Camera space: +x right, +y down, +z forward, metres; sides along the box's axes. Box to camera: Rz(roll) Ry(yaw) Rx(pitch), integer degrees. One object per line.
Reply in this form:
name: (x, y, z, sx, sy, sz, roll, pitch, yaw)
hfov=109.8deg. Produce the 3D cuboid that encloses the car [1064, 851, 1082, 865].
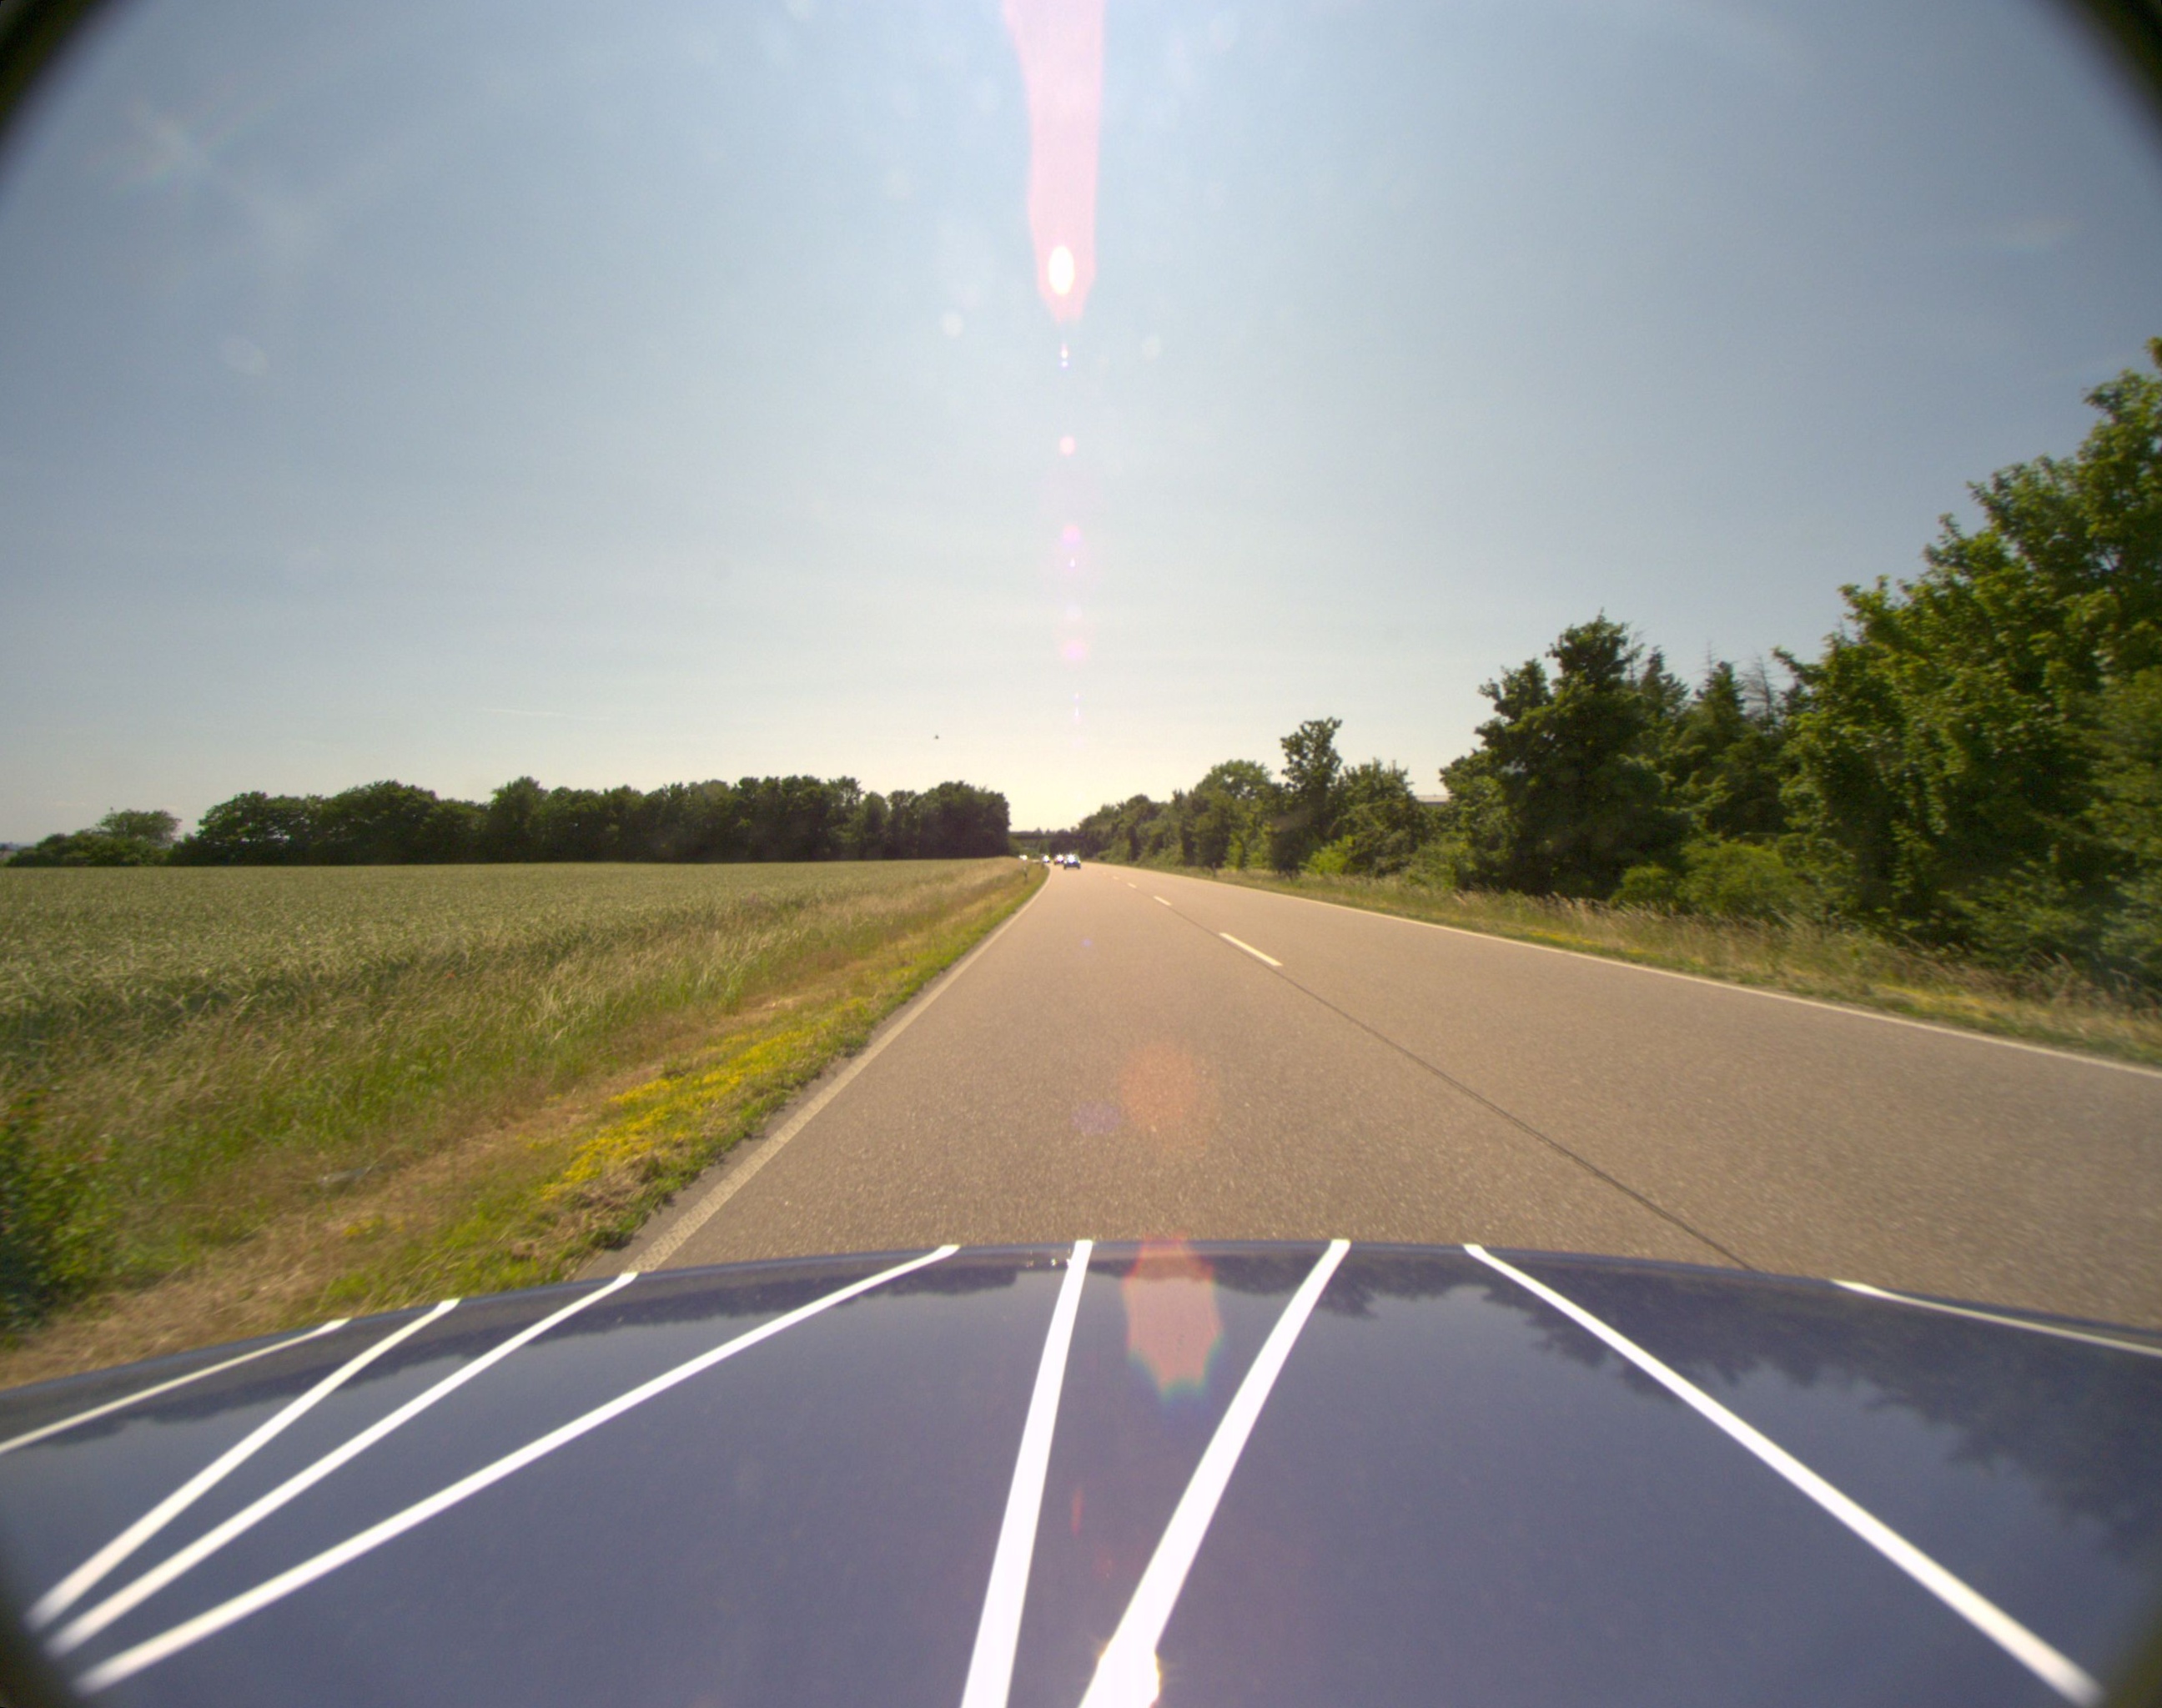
car: (-0.885, 0.452, 81.863, 1.694, 1.431, 3.708, -1, 0, -6)

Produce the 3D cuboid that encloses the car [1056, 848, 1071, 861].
car: (-2.746, 0.035, 118.832, 1.999, 2.002, 3.998, -2, 1, -6)

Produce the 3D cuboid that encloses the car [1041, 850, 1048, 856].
car: (-11.091, -0.288, 231.129, 1.999, 2.002, 3.999, 1, 0, -2)

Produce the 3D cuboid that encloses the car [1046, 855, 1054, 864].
car: (-6.652, 1.170, 163.505, 1.554, 1.659, 3.998, -3, 1, -2)

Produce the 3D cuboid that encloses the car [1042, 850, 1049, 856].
car: (-10.684, -0.183, 229.029, 1.768, 1.808, 4.801, 1, 0, -4)

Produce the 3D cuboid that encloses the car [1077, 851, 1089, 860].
car: (0.250, 0.218, 131.357, 1.805, 1.442, 4.531, -2, 0, -3)
